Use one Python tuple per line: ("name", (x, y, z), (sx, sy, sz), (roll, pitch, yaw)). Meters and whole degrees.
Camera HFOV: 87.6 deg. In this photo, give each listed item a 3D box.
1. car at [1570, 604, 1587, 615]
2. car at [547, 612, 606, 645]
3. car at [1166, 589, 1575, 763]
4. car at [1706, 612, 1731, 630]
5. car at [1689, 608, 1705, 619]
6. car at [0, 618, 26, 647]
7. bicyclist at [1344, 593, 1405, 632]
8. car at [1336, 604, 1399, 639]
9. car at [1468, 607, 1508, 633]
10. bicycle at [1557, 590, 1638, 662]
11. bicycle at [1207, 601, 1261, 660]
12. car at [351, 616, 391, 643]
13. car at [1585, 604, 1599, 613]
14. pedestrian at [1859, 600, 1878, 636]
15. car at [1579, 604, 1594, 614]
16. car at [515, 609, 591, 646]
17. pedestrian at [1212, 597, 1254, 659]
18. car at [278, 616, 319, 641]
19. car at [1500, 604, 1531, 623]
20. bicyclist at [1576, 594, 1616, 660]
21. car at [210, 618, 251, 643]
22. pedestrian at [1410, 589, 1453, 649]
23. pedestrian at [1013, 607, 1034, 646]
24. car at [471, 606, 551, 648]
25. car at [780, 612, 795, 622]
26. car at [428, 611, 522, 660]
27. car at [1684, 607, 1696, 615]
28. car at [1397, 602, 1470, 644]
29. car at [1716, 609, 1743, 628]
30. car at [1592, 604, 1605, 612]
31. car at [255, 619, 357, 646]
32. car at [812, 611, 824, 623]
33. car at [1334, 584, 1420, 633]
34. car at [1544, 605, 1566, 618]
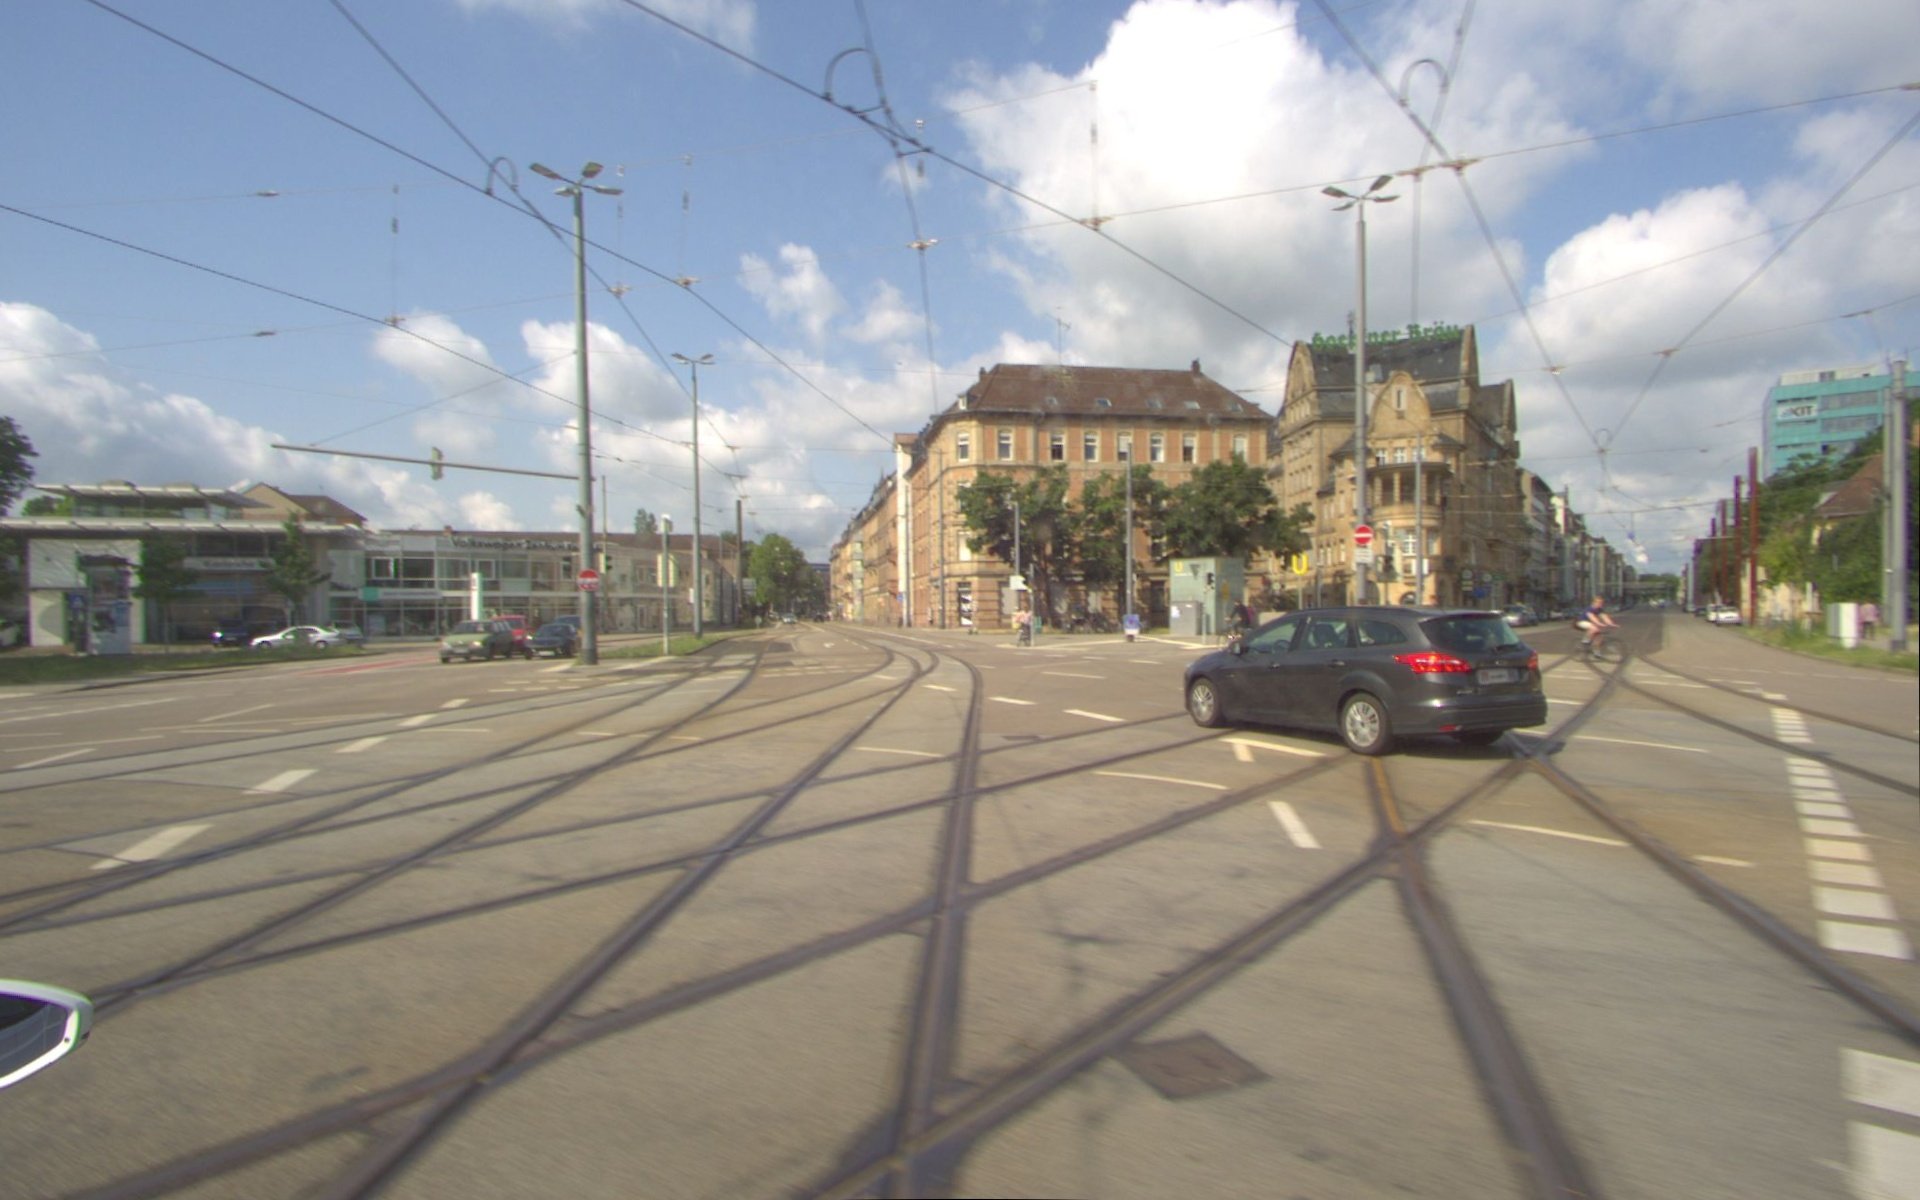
("car", (86.795, 1.287, 140.446), (1.827, 1.559, 3.797), (-1, 0, 36))
("car", (-19.060, 1.375, 49.888), (1.962, 1.572, 3.997), (0, 0, -10))
("car", (4.267, 0.723, 11.206), (1.744, 1.548, 4.242), (0, -1, -23))
("car", (75.814, 2.102, 100.110), (1.890, 1.792, 3.975), (0, -1, 36))
("car", (107.100, 1.966, 145.554), (1.890, 1.626, 3.975), (0, -1, 36))
("car", (-55.402, 1.851, 57.180), (2.043, 1.625, 3.981), (-1, 0, -29))
("bicyclist", (11.672, 0.361, 28.246), (0.978, 1.040, 1.212), (0, -4, -25))
("car", (19.955, 1.052, 48.971), (1.734, 1.621, 3.970), (-2, -1, 39))
("car", (35.536, 1.326, 67.347), (1.828, 1.683, 3.974), (-2, -1, 36))
("bicycle", (16.627, 0.686, 26.150), (0.721, 1.800, 1.630), (-1, -1, -28))
("bicycle", (8.555, 0.933, 31.360), (0.989, 1.747, 2.469), (-1, -1, 0))
("car", (-38.678, 1.936, 65.869), (1.898, 1.571, 3.984), (4, -3, -26))
("car", (108.339, 1.436, 171.571), (1.827, 1.559, 3.797), (-1, 0, 36))
("pedestrian", (38.381, 0.770, 42.327), (0.499, 1.525, 0.497), (0, 0, 31))
("car", (99.845, 1.365, 159.529), (1.827, 1.559, 3.797), (-1, 0, 36))
("car", (-14.211, 0.962, 35.154), (1.596, 1.176, 3.999), (-1, -1, -9))
("pedestrian", (8.544, 0.873, 31.361), (0.976, 1.865, 0.996), (-1, -1, -1))
("car", (-41.690, 1.787, 63.205), (1.898, 1.464, 3.978), (1, 0, -30))
("car", (47.321, 1.143, 85.277), (1.827, 1.559, 3.797), (-1, 0, 36))
("bicyclist", (16.648, 0.708, 26.223), (0.565, 1.692, 0.653), (-1, 0, -28))
("car", (-44.829, 1.859, 61.626), (1.901, 1.464, 3.974), (0, 0, -34))
("pedestrian", (14.581, 0.592, 30.958), (0.857, 1.833, 0.881), (-1, -1, -37))
("pedestrian", (2.780, 1.161, 43.769), (0.697, 1.664, 0.793), (0, 0, 26))
("car", (-18.118, 1.090, 40.583), (1.962, 1.538, 3.999), (-1, -1, -9))
("car", (-24.867, 2.445, 144.532), (1.962, 1.349, 3.998), (0, 0, -9))
("car", (-16.680, 1.209, 34.630), (1.792, 1.532, 3.999), (-1, -1, -9))
("car", (148.136, 2.192, 203.278), (1.890, 1.626, 3.975), (0, -1, 36))
("car", (21.496, 1.000, 45.322), (1.976, 1.617, 4.649), (-2, 1, 38))
("car", (65.676, 1.562, 85.450), (1.734, 1.550, 3.972), (0, -1, 38))
("car", (118.905, 1.468, 186.429), (1.827, 1.559, 3.797), (-1, 0, 36))
("car", (-36.814, 1.835, 56.496), (4.472, 1.371, 1.995), (-1, -1, -21))
("car", (-23.644, 2.795, 166.749), (1.962, 2.040, 3.999), (0, 0, -6))
("car", (16.098, 0.342, 38.581), (1.976, 1.762, 4.310), (-2, -1, 38))
("car", (69.484, 1.341, 116.898), (1.827, 1.559, 3.797), (-1, 0, 36))
